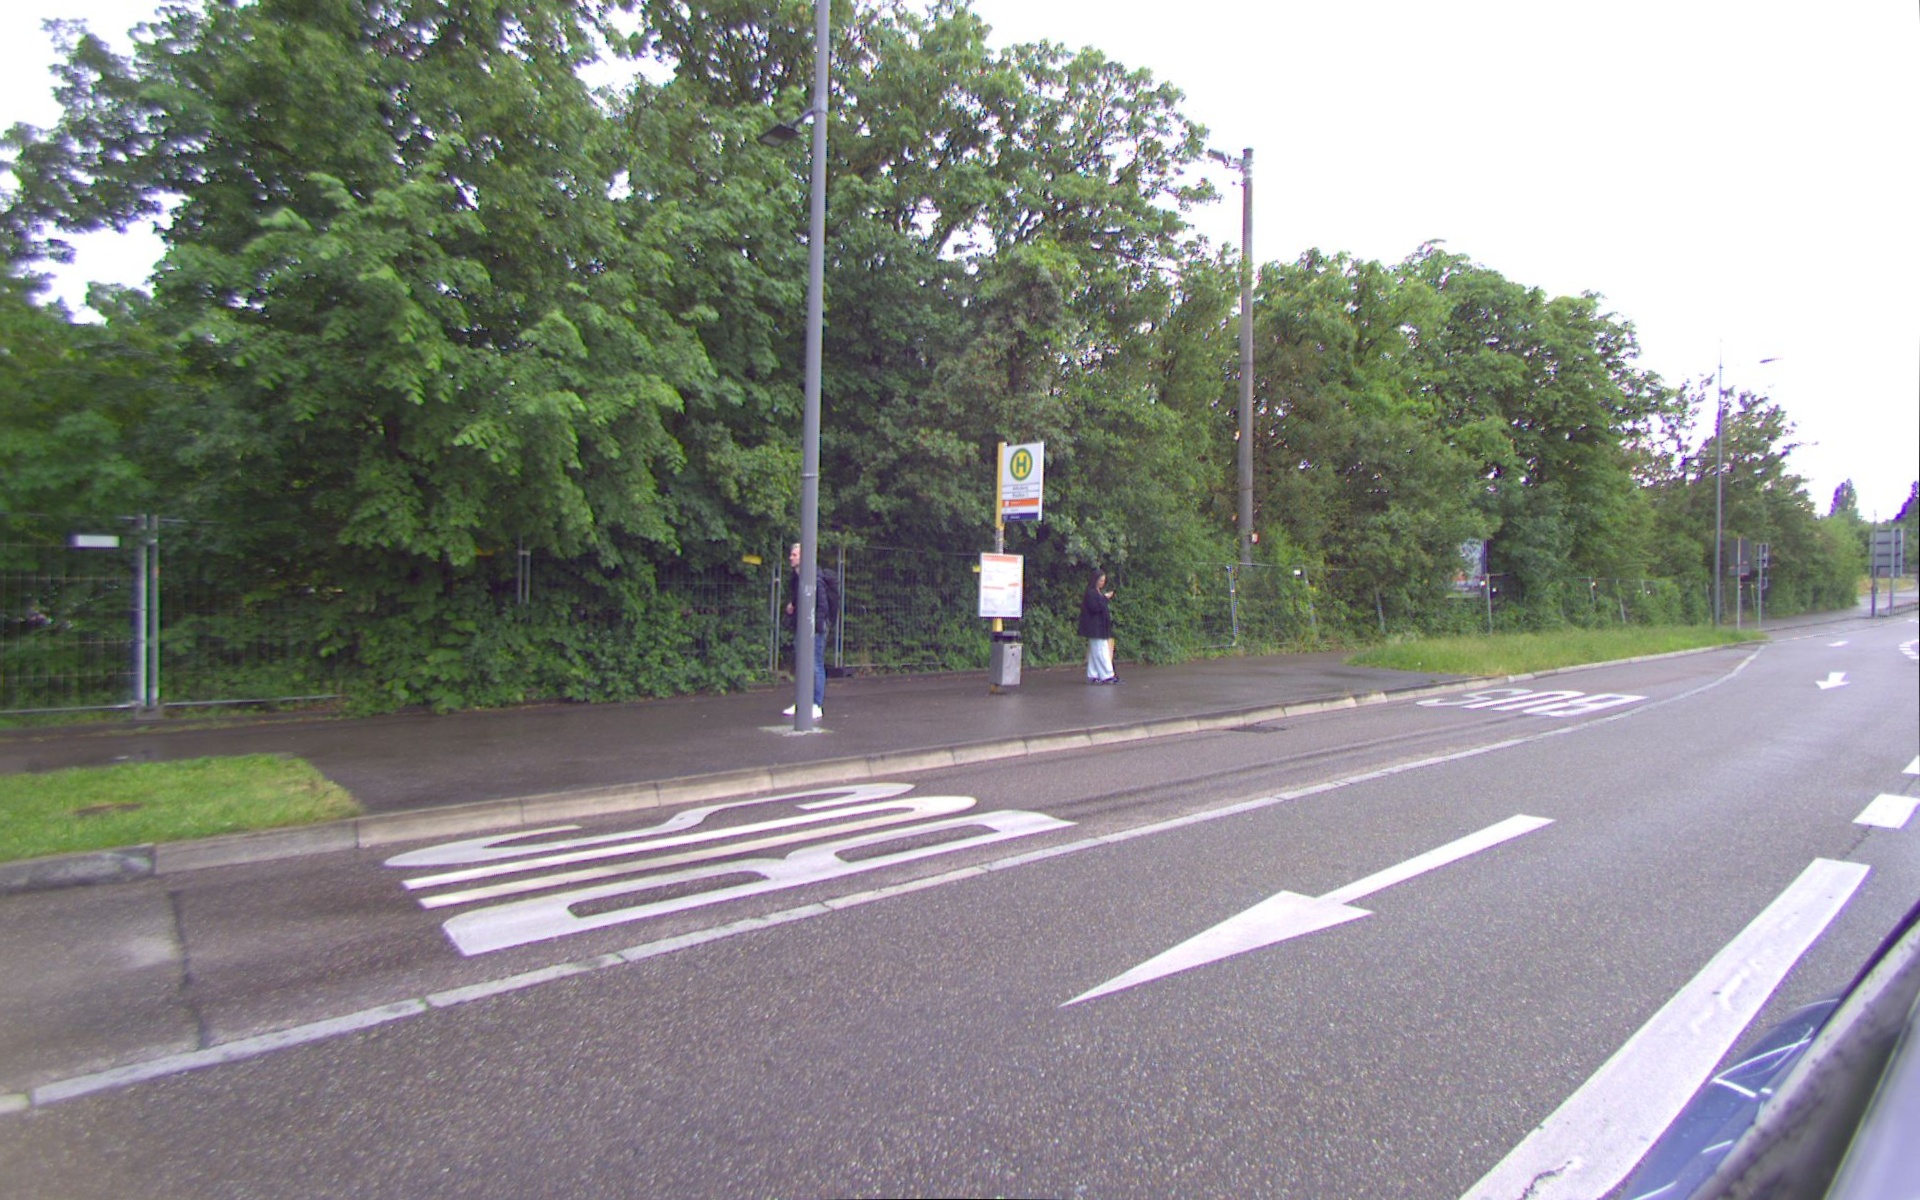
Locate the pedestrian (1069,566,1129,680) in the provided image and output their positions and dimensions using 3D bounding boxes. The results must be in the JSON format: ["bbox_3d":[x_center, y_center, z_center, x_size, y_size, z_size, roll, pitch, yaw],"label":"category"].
[{"bbox_3d":[2.089,0.327,15.183,0.650,1.648,0.588,0,1,-40],"label":"pedestrian"}]

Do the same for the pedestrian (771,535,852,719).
[{"bbox_3d":[-1.668,0.282,11.325,0.587,1.973,0.742,0,1,-40],"label":"pedestrian"}]
